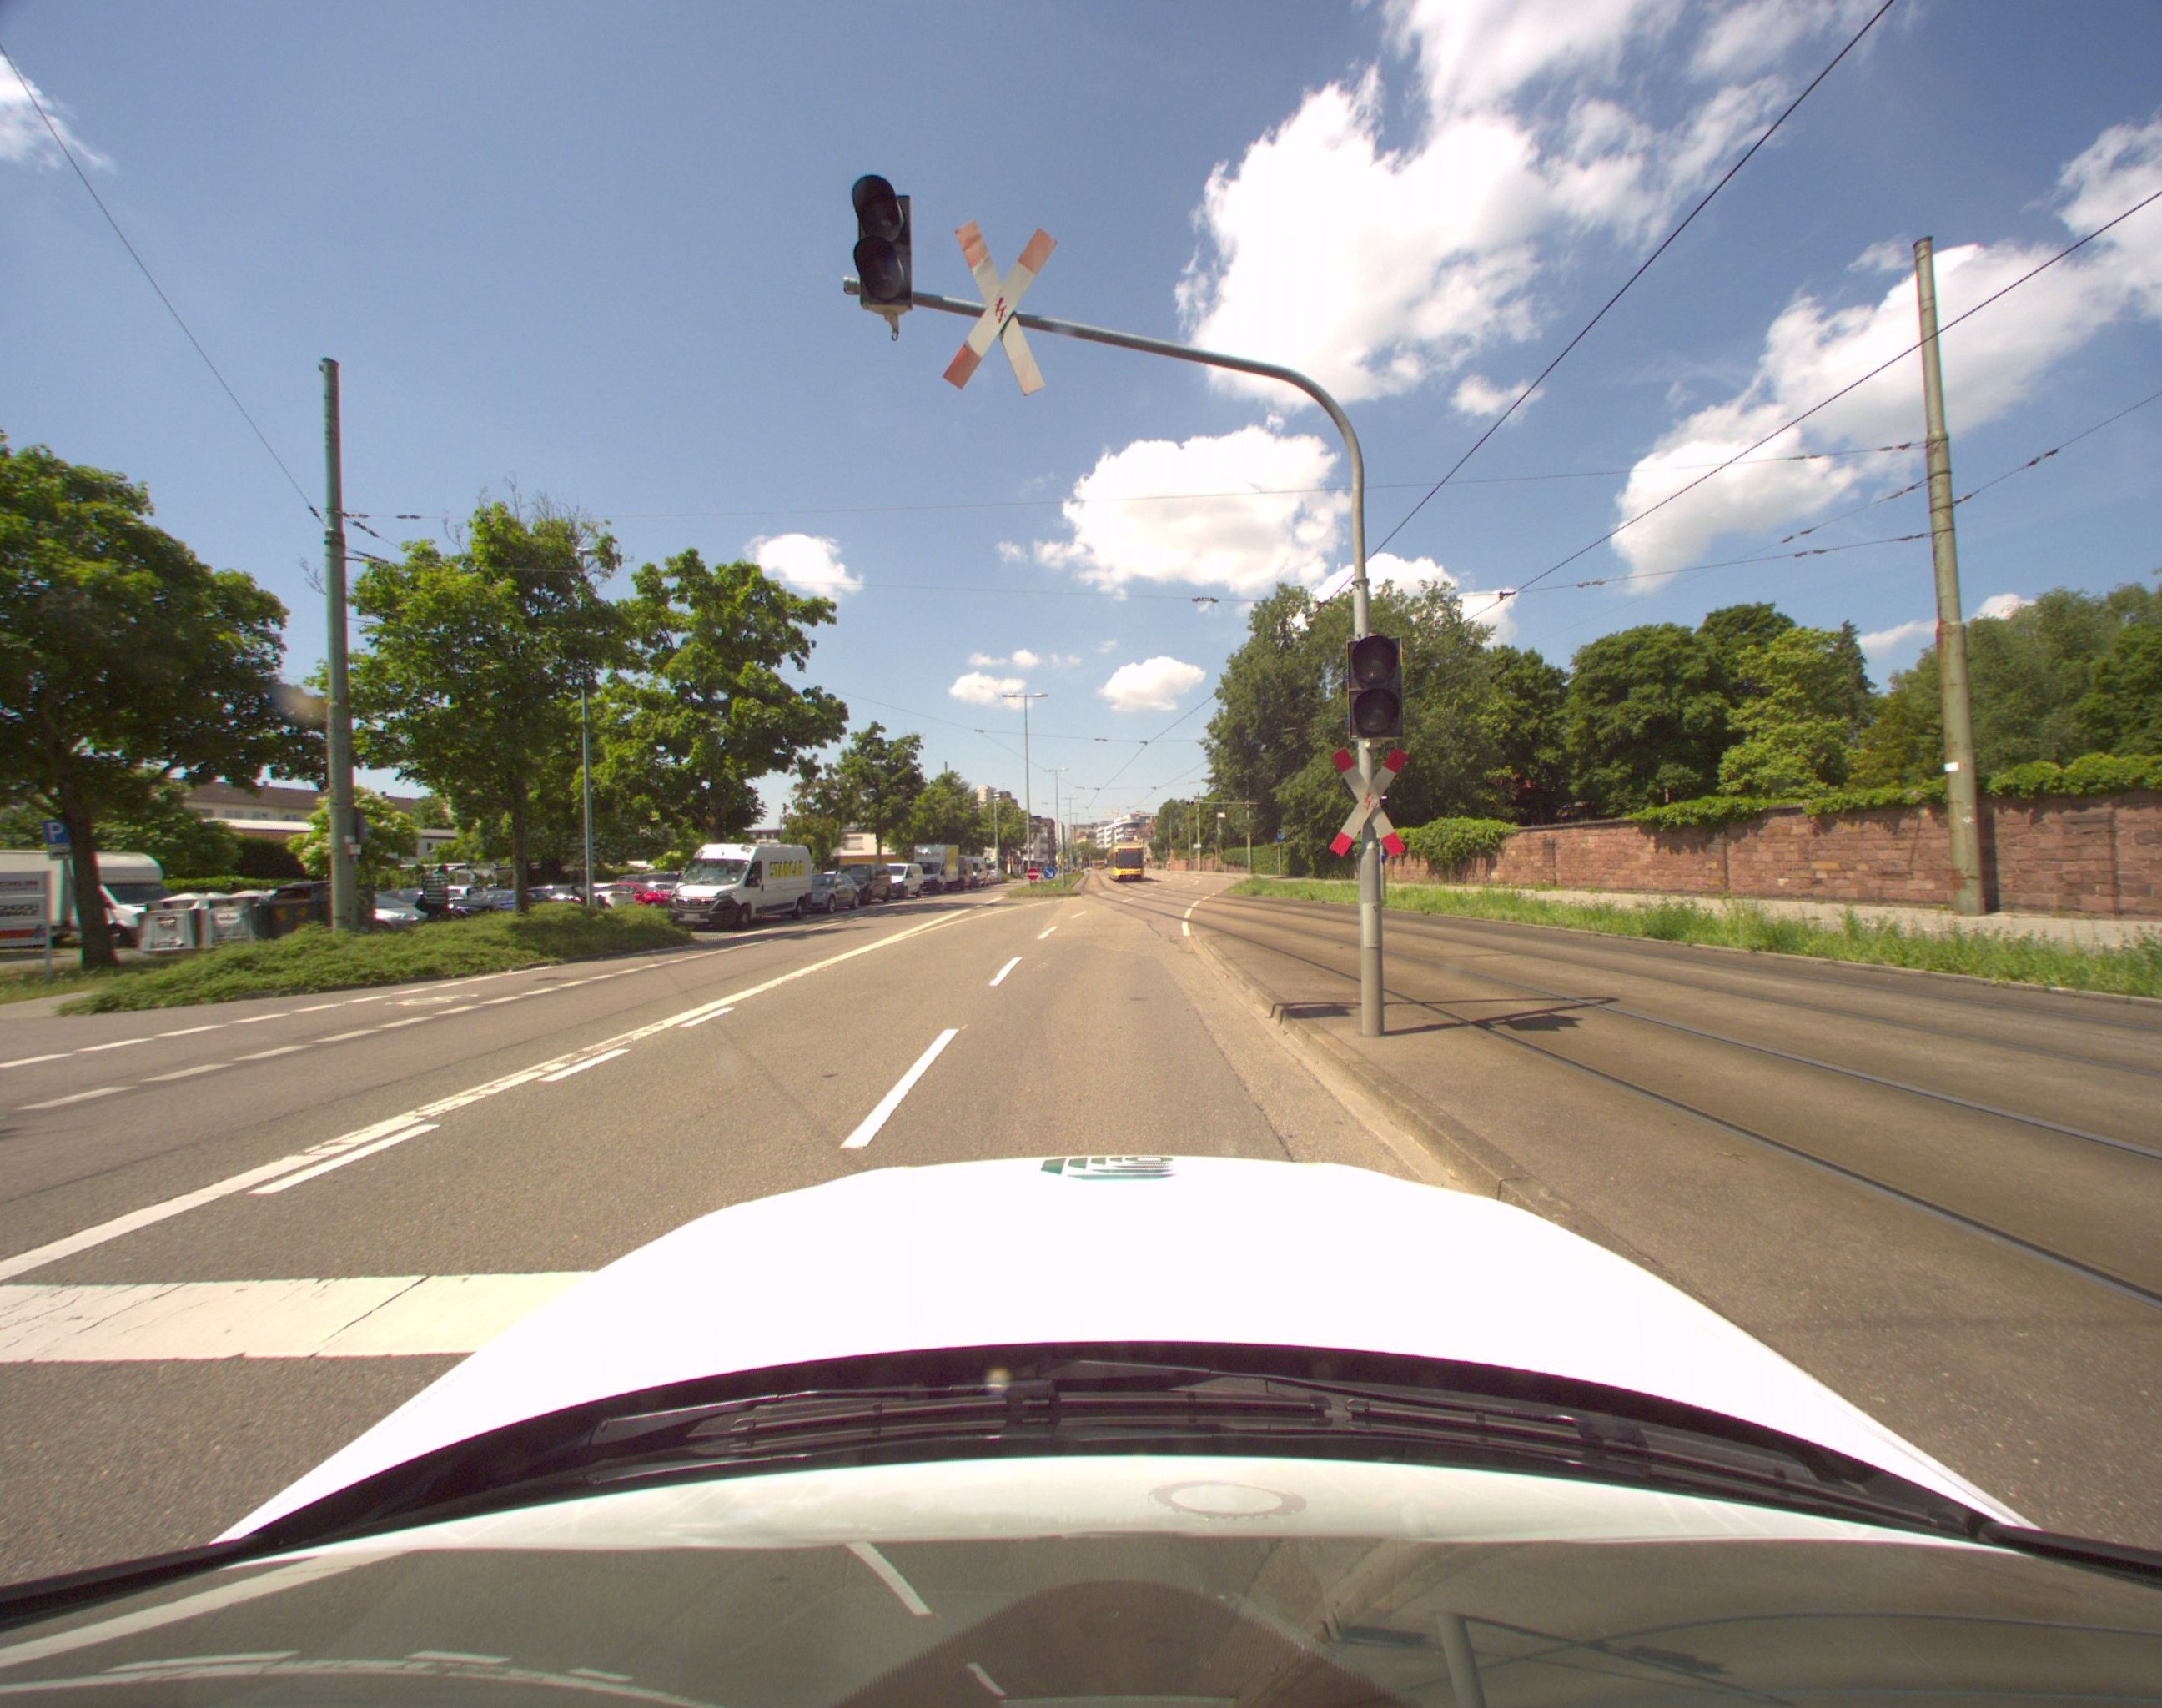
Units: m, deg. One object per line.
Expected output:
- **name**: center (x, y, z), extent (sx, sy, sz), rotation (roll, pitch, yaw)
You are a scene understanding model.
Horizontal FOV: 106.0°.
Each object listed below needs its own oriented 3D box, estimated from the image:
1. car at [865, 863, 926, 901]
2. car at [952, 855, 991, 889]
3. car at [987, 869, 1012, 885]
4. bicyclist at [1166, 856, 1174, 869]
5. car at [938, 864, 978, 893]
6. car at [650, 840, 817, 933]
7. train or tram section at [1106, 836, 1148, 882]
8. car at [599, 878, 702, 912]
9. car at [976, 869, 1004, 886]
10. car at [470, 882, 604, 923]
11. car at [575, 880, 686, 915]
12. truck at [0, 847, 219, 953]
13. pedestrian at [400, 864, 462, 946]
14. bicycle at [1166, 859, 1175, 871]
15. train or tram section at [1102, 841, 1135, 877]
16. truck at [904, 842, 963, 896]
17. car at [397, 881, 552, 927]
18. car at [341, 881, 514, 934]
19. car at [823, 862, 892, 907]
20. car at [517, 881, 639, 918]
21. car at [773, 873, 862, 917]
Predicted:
- **car**: center (-10.053, 1.470, 44.592), extent (2.053, 1.898, 4.872), rotation (-2, -1, 1)
- **car**: center (-9.133, 1.473, 68.600), extent (2.148, 2.639, 5.616), rotation (1, 0, 3)
- **car**: center (-8.931, 2.462, 89.483), extent (2.053, 1.582, 4.872), rotation (-2, -1, 1)
- **bicyclist**: center (14.499, 1.326, 132.530), extent (1.092, 2.108, 1.031), rotation (-1, -1, 1)
- **car**: center (-9.164, 1.779, 60.824), extent (2.053, 1.977, 4.872), rotation (-2, -1, 1)
- **car**: center (-10.406, 0.905, 25.131), extent (2.148, 2.487, 6.198), rotation (1, 0, 3)
- **train or tram section**: center (4.014, 0.507, 75.398), extent (2.934, 3.692, 18.387), rotation (-1, 0, 0)
- **car**: center (-20.833, 1.960, 39.547), extent (3.974, 1.442, 1.805), rotation (-2, -1, 0)
- **car**: center (-9.135, 2.323, 81.857), extent (2.053, 1.582, 4.872), rotation (-2, -1, 1)
- **car**: center (-21.148, 1.873, 31.767), extent (3.975, 1.339, 1.804), rotation (-2, -1, -1)
- **car**: center (-20.394, 1.959, 36.994), extent (3.975, 1.339, 1.804), rotation (-2, -1, -1)
- **truck**: center (-33.573, 1.526, 27.034), extent (7.167, 3.228, 2.331), rotation (-2, -1, -2)
- **pedestrian**: center (-15.117, 1.159, 18.955), extent (0.980, 1.823, 0.787), rotation (-1, -1, -30)
- **bicycle**: center (14.538, 1.804, 132.372), extent (1.089, 1.908, 3.680), rotation (-2, -1, 0)
- **train or tram section**: center (4.159, 0.629, 94.701), extent (2.934, 3.692, 20.281), rotation (-1, 0, 0)
- **truck**: center (-9.522, 0.947, 53.244), extent (2.148, 3.210, 7.087), rotation (1, 0, 3)
- **car**: center (-20.996, 1.714, 28.308), extent (3.975, 1.339, 1.804), rotation (-2, -1, -1)
- **car**: center (-20.697, 1.677, 25.908), extent (3.975, 1.442, 1.804), rotation (-2, -1, -1)
- **car**: center (-10.254, 1.348, 37.737), extent (1.862, 1.895, 4.272), rotation (-2, -1, 1)
- **car**: center (-21.182, 1.913, 34.406), extent (3.975, 1.339, 1.804), rotation (-2, -1, -1)
- **car**: center (-10.016, 1.528, 31.358), extent (1.862, 1.437, 4.344), rotation (-2, -1, 1)
